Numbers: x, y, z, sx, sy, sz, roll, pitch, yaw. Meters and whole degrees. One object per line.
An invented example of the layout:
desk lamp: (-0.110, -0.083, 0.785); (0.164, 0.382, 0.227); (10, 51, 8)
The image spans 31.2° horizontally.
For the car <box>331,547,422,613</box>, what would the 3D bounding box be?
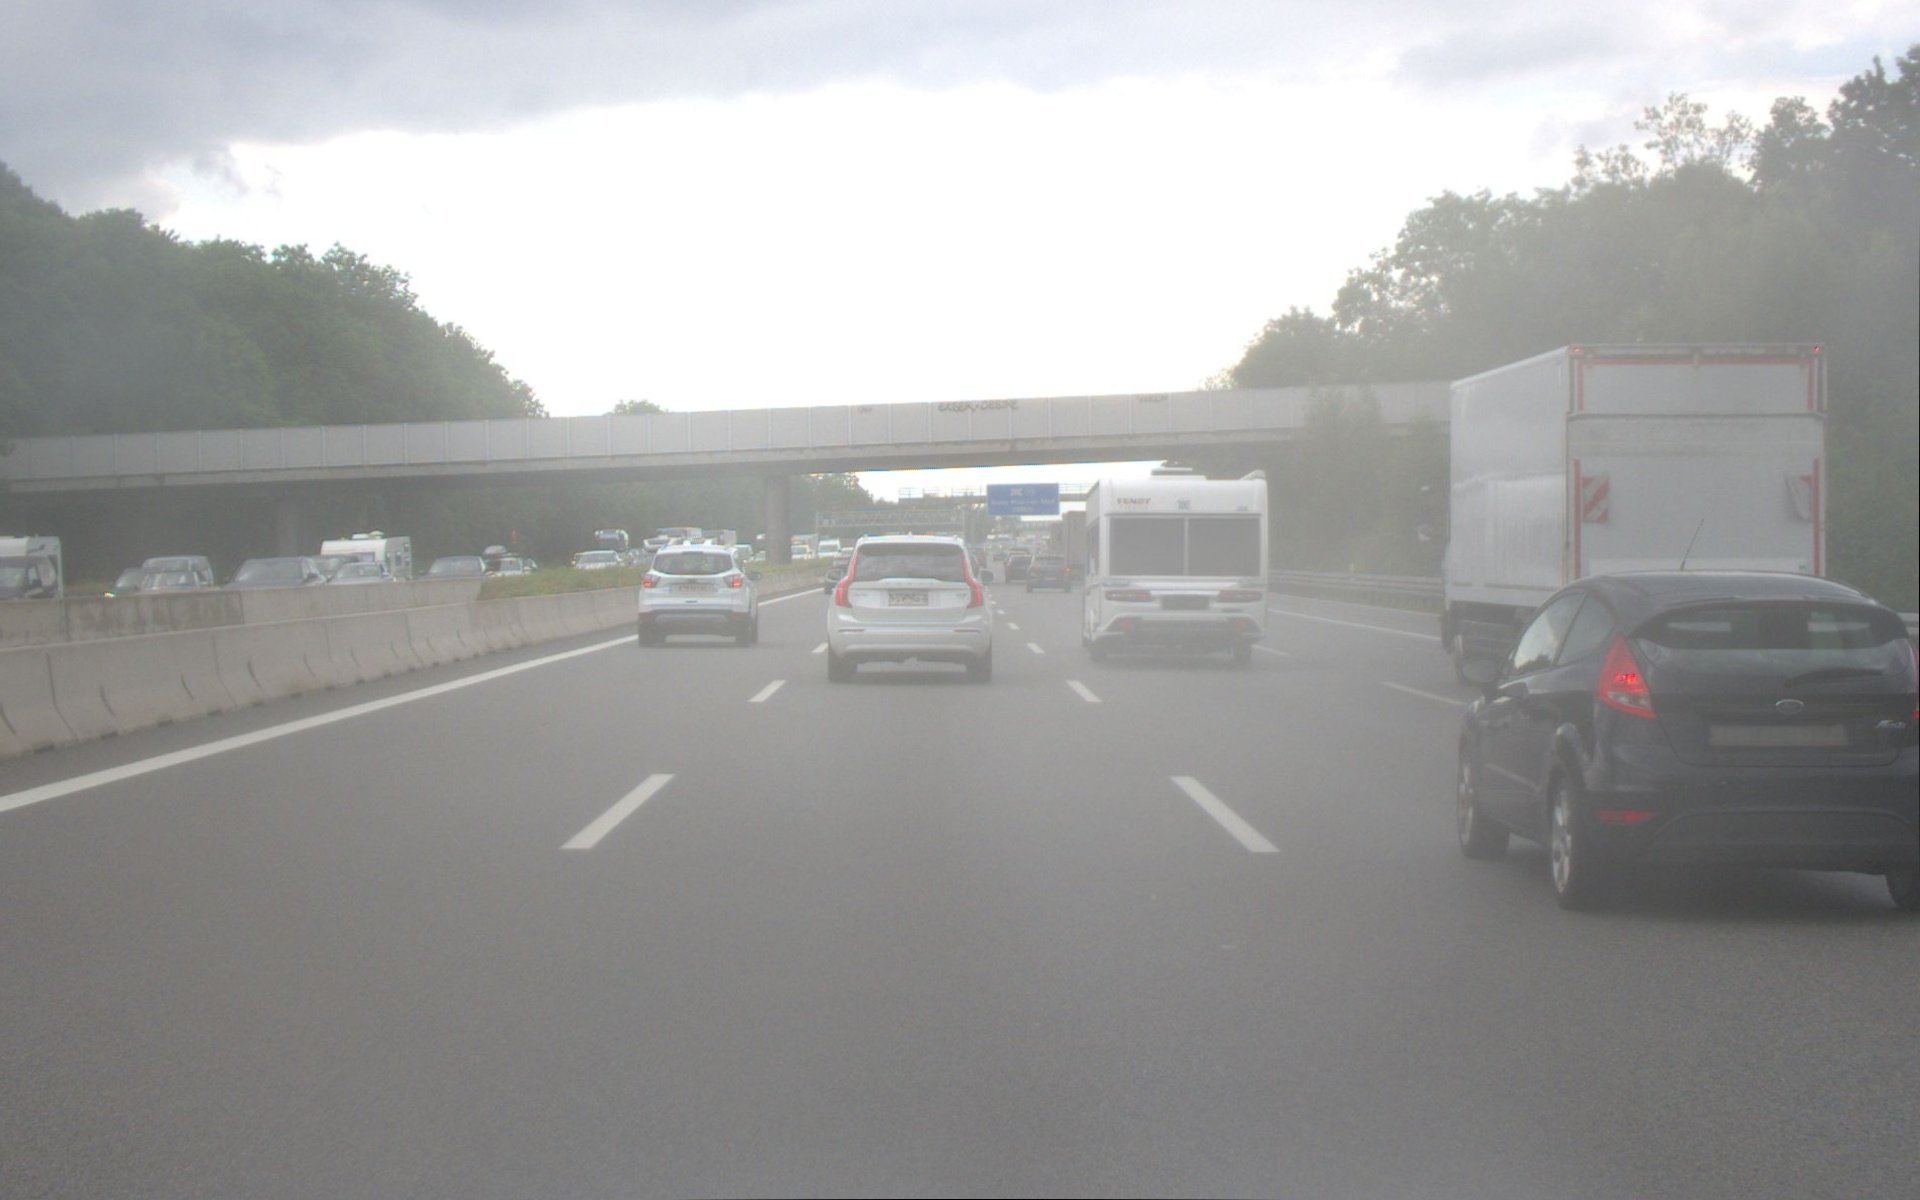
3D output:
car: (-18.715, -0.671, 110.472); (1.993, 2.075, 5.648); (0, 1, 0)

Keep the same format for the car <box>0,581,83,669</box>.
car: (-22.393, 0.563, 81.288); (1.993, 1.945, 5.225); (0, 1, 0)

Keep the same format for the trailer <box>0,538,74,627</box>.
trailer: (-26.206, -0.510, 94.498); (2.242, 2.366, 5.784); (0, 1, 0)

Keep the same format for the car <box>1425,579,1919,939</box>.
car: (3.403, 0.630, 15.975); (1.885, 1.402, 4.282); (0, 1, 0)

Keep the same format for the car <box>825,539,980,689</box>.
car: (-0.658, 0.129, 41.797); (1.781, 1.710, 4.353); (0, 1, 0)

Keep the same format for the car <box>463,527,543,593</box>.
car: (-15.400, -1.366, 116.024); (1.993, 2.174, 5.289); (0, 1, 0)

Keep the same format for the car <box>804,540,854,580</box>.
car: (-5.010, -1.538, 131.684); (1.781, 1.476, 4.353); (0, 1, -1)

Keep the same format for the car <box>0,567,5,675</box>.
car: (-18.933, 0.422, 62.214); (1.993, 2.007, 4.765); (0, 1, 0)

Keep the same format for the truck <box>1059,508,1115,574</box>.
truck: (7.363, -3.428, 200.292); (2.906, 3.797, 7.274); (0, 1, 0)

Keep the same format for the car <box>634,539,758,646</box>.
car: (-4.391, -0.163, 57.702); (1.815, 1.684, 4.852); (0, 1, -1)

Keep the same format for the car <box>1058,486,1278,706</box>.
car: (2.853, -0.113, 49.070); (2.567, 2.885, 7.534); (0, 1, -1)

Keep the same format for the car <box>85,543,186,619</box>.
car: (-22.506, -0.536, 93.946); (1.817, 2.007, 4.000); (0, 1, 0)

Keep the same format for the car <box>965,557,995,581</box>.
car: (1.428, -2.213, 243.473); (1.881, 1.680, 4.001); (0, 1, -4)

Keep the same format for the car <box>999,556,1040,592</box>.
car: (3.096, -1.372, 179.060); (2.043, 1.817, 4.904); (0, 1, 0)

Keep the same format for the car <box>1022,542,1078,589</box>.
car: (3.538, -1.374, 135.315); (2.043, 1.817, 4.904); (0, 1, 0)

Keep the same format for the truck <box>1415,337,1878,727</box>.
truck: (7.193, -0.721, 37.677); (3.133, 3.697, 9.848); (0, 1, 0)

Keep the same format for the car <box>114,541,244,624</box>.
car: (-18.992, -0.452, 83.811); (1.993, 1.945, 5.225); (0, 1, 0)
